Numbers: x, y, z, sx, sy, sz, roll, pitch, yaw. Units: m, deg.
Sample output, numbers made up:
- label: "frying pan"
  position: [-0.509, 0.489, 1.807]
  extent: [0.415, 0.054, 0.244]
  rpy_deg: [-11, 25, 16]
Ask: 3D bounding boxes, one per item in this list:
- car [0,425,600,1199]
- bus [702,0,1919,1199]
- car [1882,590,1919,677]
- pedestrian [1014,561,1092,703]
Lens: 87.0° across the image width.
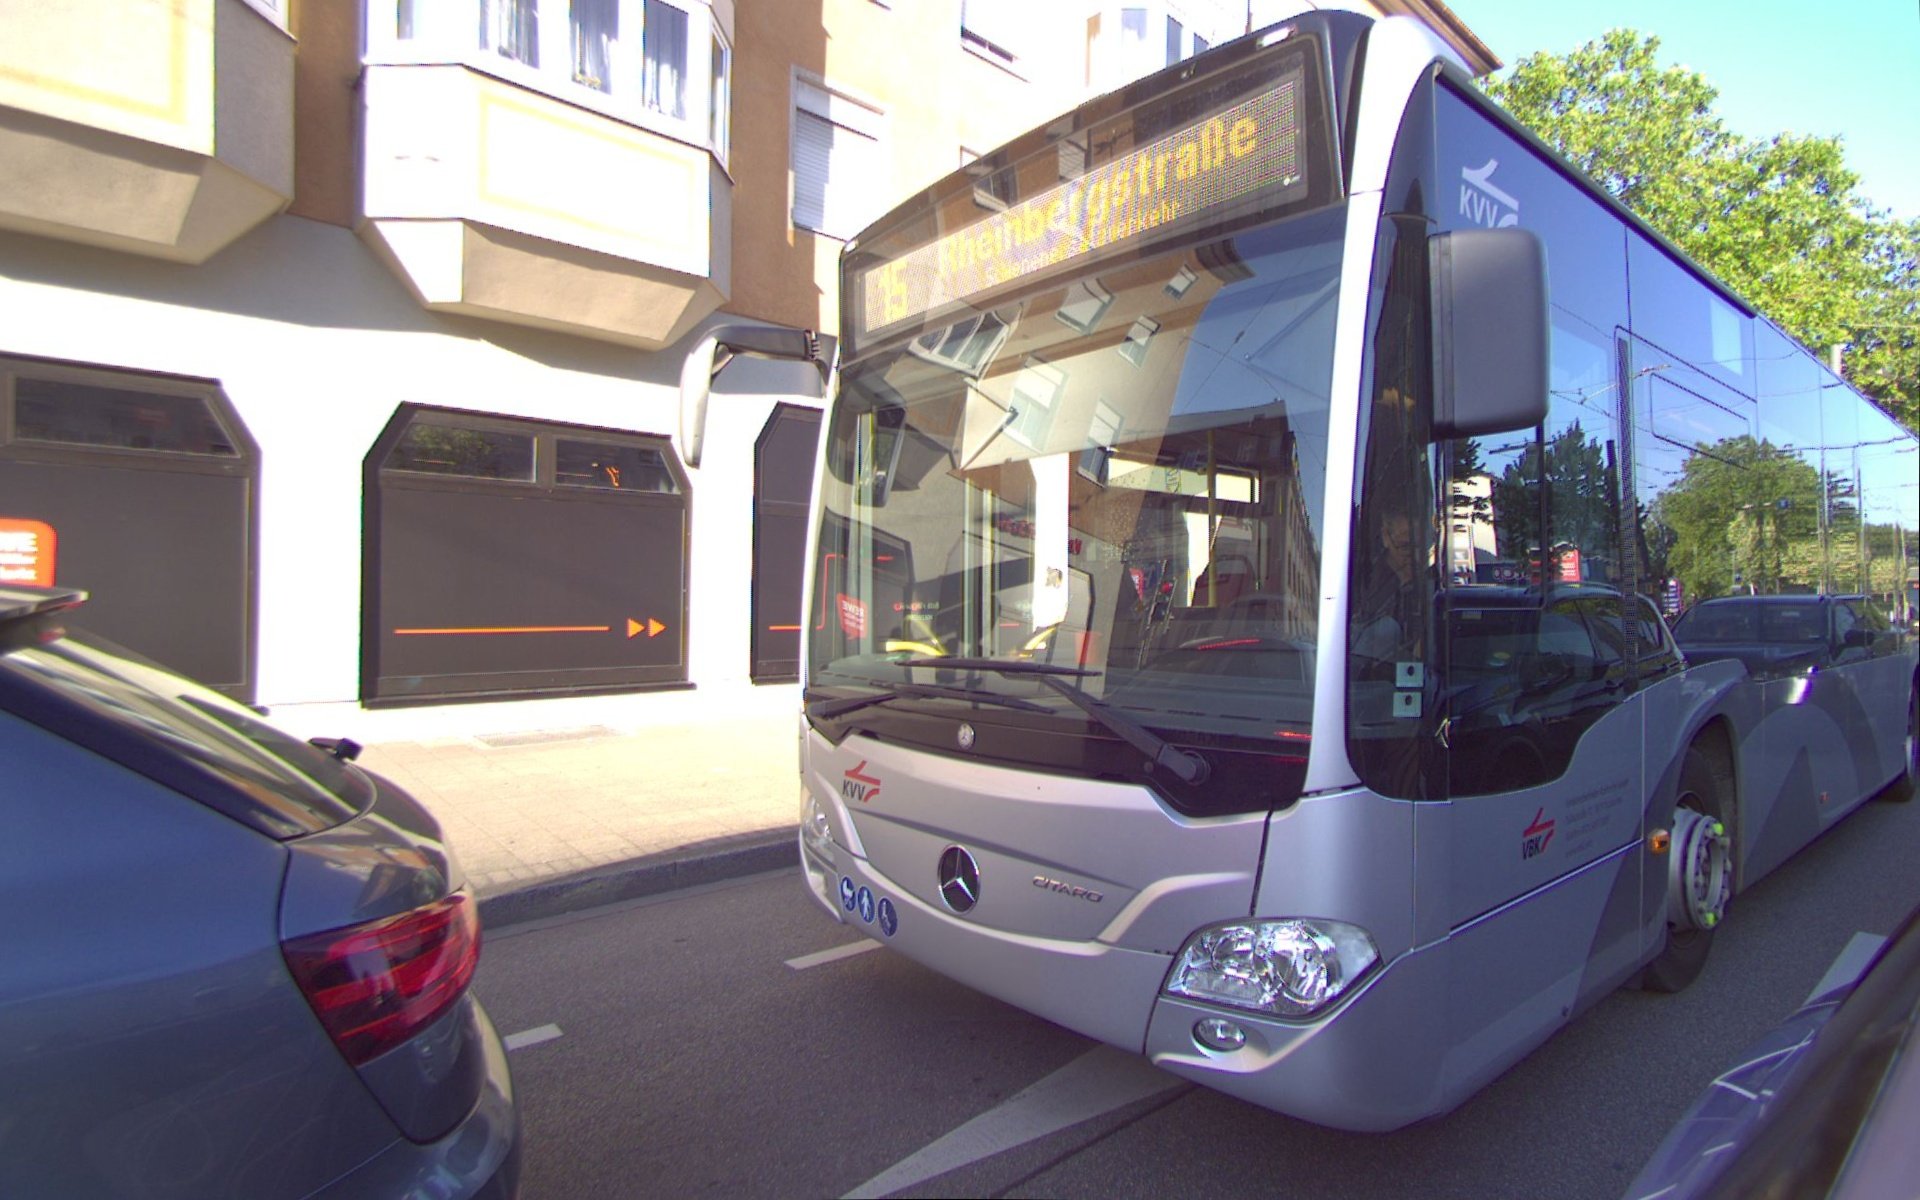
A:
- label: "car"
  position: [-2.594, 0.631, 0.640]
  extent: [4.151, 1.572, 1.700]
  rpy_deg: [0, -1, -41]
- label: "bus"
  position: [6.451, -0.176, 8.635]
  extent: [17.432, 3.189, 2.771]
  rpy_deg: [0, 1, -41]
- label: "car"
  position: [19.756, 0.617, 20.143]
  extent: [3.759, 1.628, 1.747]
  rpy_deg: [-1, 0, -43]
- label: "pedestrian"
  position: [1.088, 0.353, 11.873]
  extent: [0.656, 1.603, 0.580]
  rpy_deg: [0, 1, -40]
